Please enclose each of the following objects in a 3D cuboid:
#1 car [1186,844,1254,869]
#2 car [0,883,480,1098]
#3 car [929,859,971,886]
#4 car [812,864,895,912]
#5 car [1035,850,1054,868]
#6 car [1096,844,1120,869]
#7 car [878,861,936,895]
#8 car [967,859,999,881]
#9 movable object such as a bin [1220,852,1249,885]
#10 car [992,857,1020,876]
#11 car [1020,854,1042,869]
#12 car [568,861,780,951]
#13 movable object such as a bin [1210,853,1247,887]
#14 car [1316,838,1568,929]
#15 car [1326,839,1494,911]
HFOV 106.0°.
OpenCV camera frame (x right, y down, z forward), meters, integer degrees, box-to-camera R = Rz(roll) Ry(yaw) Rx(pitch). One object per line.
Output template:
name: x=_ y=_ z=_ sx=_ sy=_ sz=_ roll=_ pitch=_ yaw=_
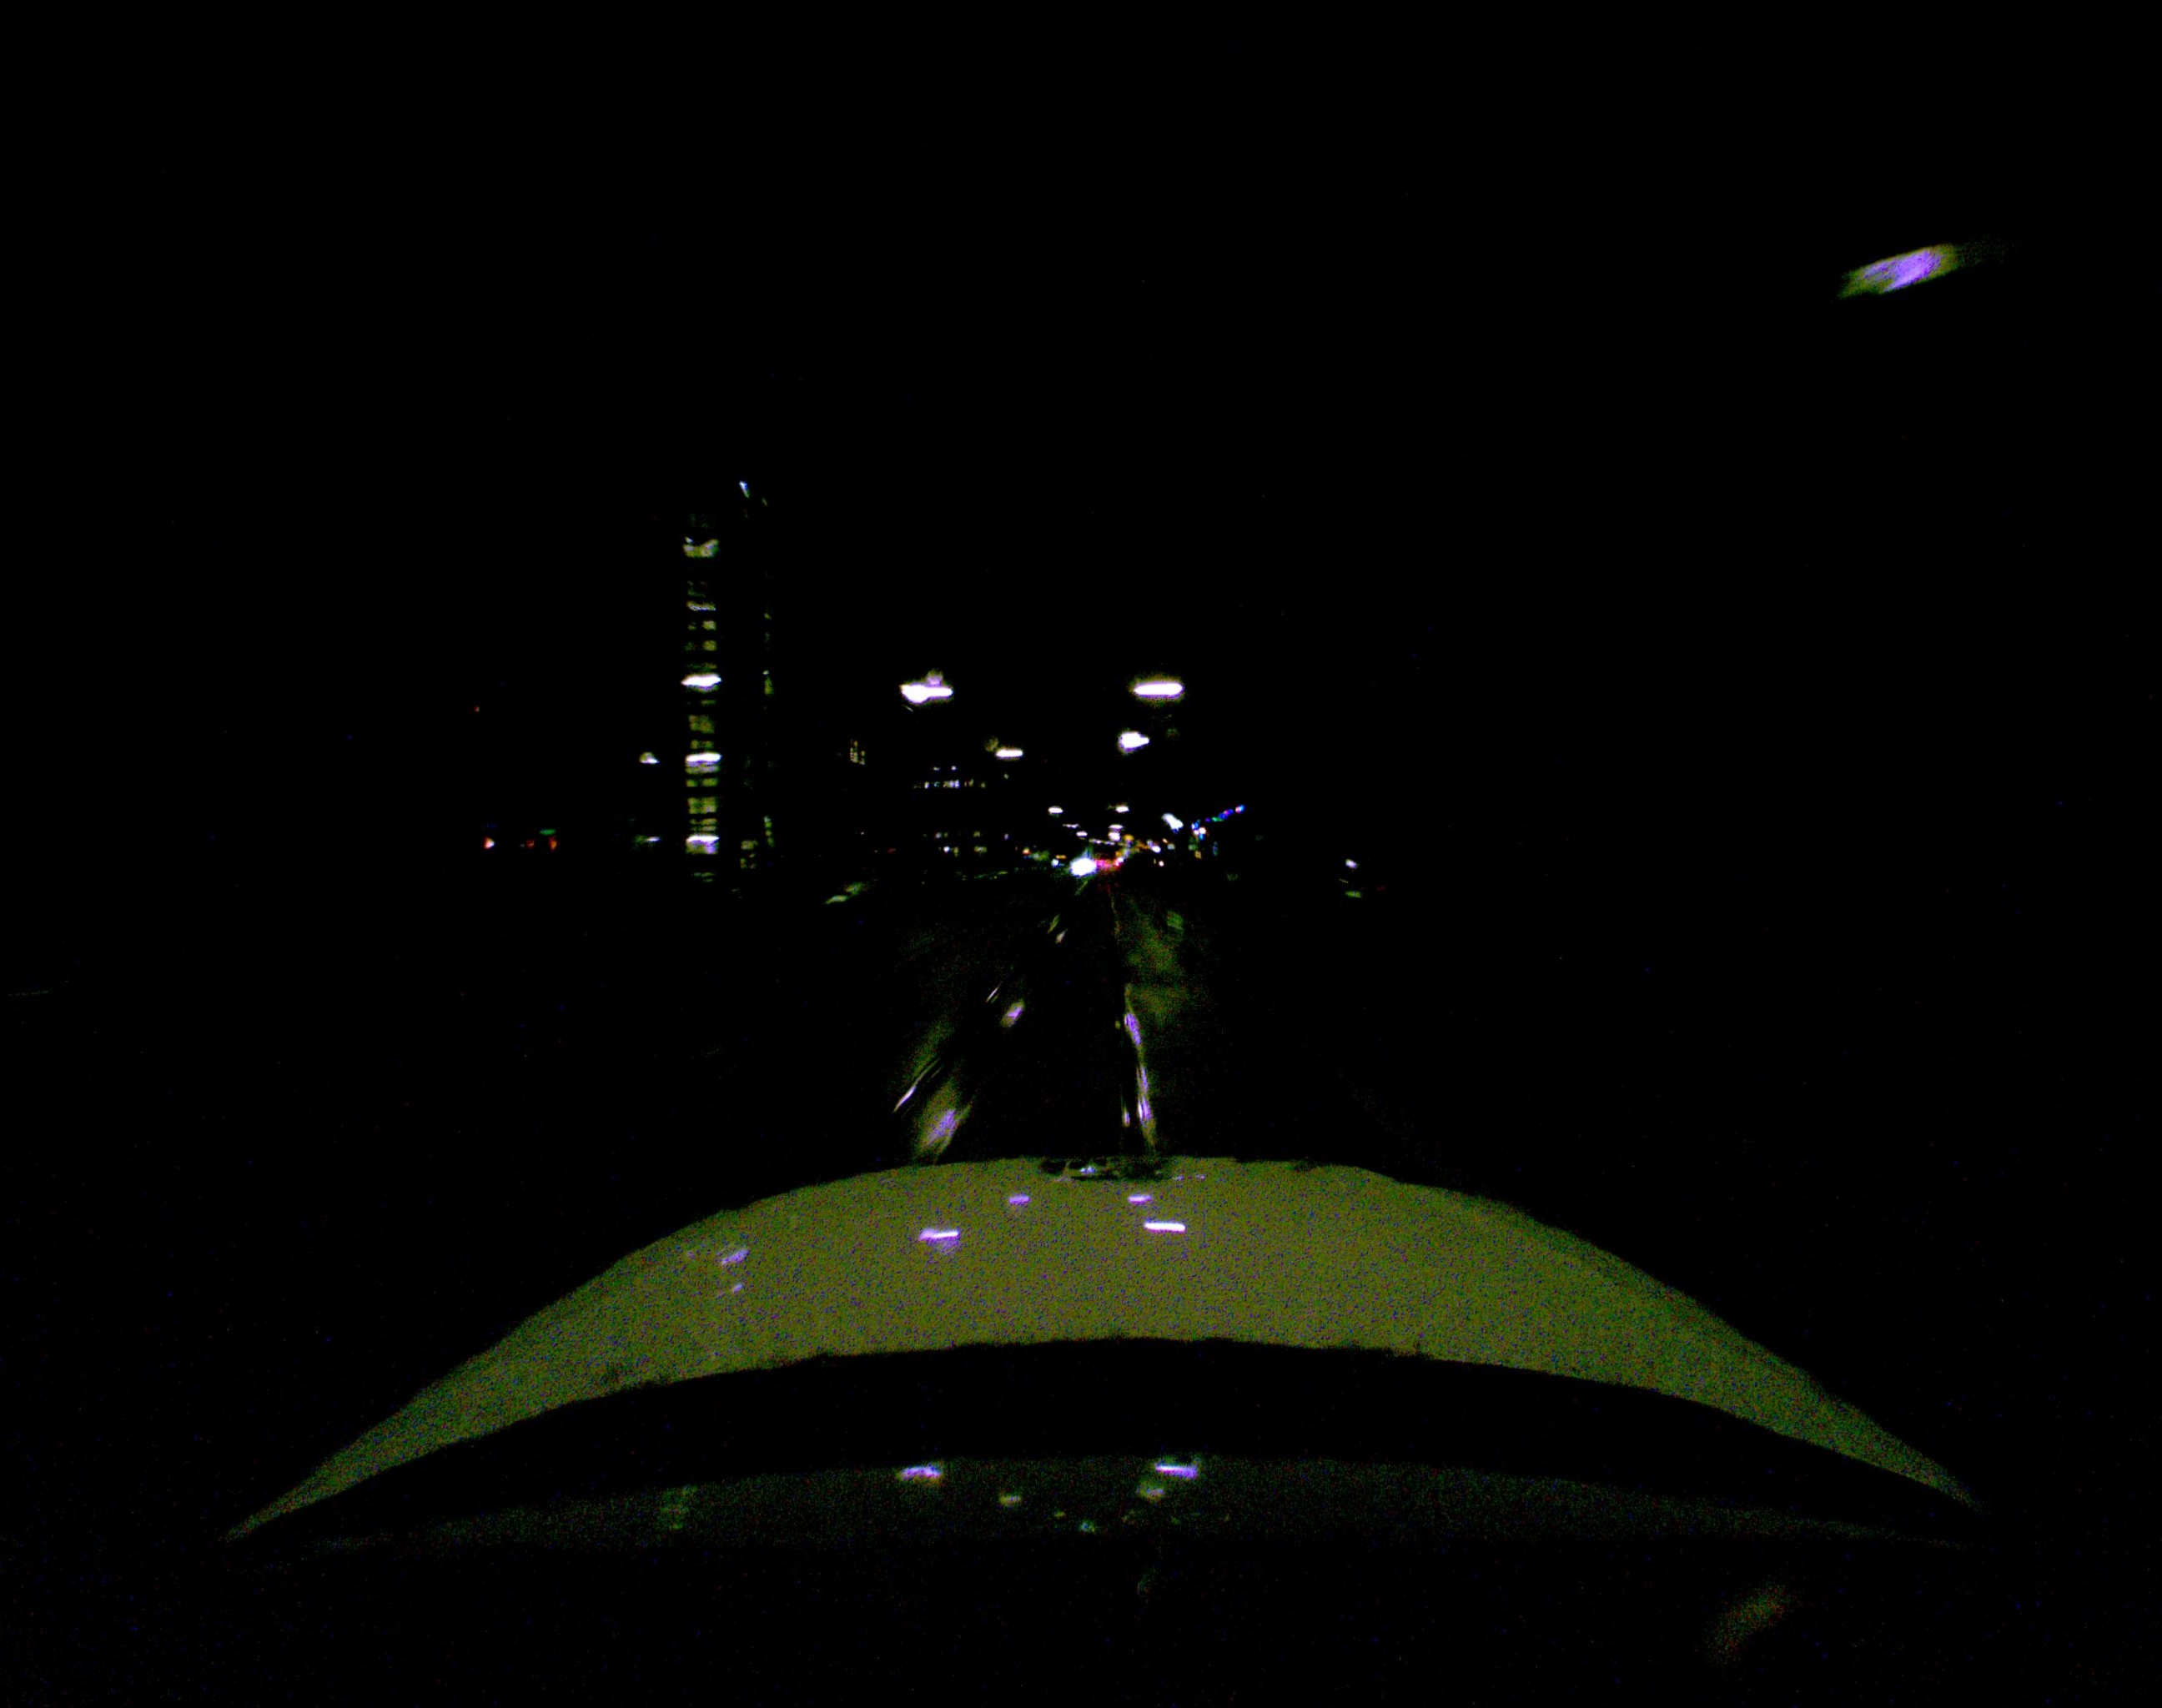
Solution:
car: x=9.335 y=0.177 z=54.839 sx=4.111 sy=1.537 sz=1.945 roll=-1 pitch=0 yaw=-24
car: x=-8.844 y=1.115 z=8.385 sx=1.724 sy=1.438 sz=4.628 roll=-1 pitch=0 yaw=2
car: x=-7.842 y=1.061 z=49.181 sx=1.883 sy=1.463 sz=4.955 roll=-2 pitch=0 yaw=-3
car: x=-8.036 y=1.157 z=29.159 sx=1.768 sy=1.440 sz=4.604 roll=-2 pitch=0 yaw=-2
car: x=-5.610 y=0.709 z=124.704 sx=2.176 sy=2.591 sz=6.399 roll=-1 pitch=1 yaw=4
car: x=2.669 y=0.220 z=81.489 sx=2.236 sy=2.361 sz=4.393 roll=-1 pitch=0 yaw=0
car: x=-8.108 y=1.083 z=38.334 sx=1.835 sy=1.423 sz=4.206 roll=-2 pitch=0 yaw=-1
car: x=-7.303 y=1.180 z=61.194 sx=1.875 sy=1.545 sz=4.397 roll=2 pitch=0 yaw=-1
movable object such as a bin: x=7.163 y=0.665 z=38.083 sx=1.202 sy=1.422 sz=1.103 roll=-3 pitch=0 yaw=7
car: x=-6.858 y=1.100 z=75.114 sx=1.976 sy=1.631 sz=4.518 roll=-1 pitch=0 yaw=1
car: x=-5.748 y=0.809 z=93.297 sx=1.961 sy=1.655 sz=4.604 roll=1 pitch=0 yaw=3
car: x=-8.482 y=0.996 z=17.555 sx=2.136 sy=1.619 sz=4.590 roll=1 pitch=0 yaw=1
movable object such as a bin: x=6.665 y=0.715 z=36.827 sx=1.319 sy=1.408 sz=1.158 roll=-3 pitch=0 yaw=-4
car: x=7.253 y=0.528 z=16.409 sx=4.598 sy=1.475 sz=1.828 roll=-3 pitch=0 yaw=-19
car: x=8.271 y=0.492 z=20.535 sx=3.702 sy=1.518 sz=1.649 roll=-3 pitch=0 yaw=-17
